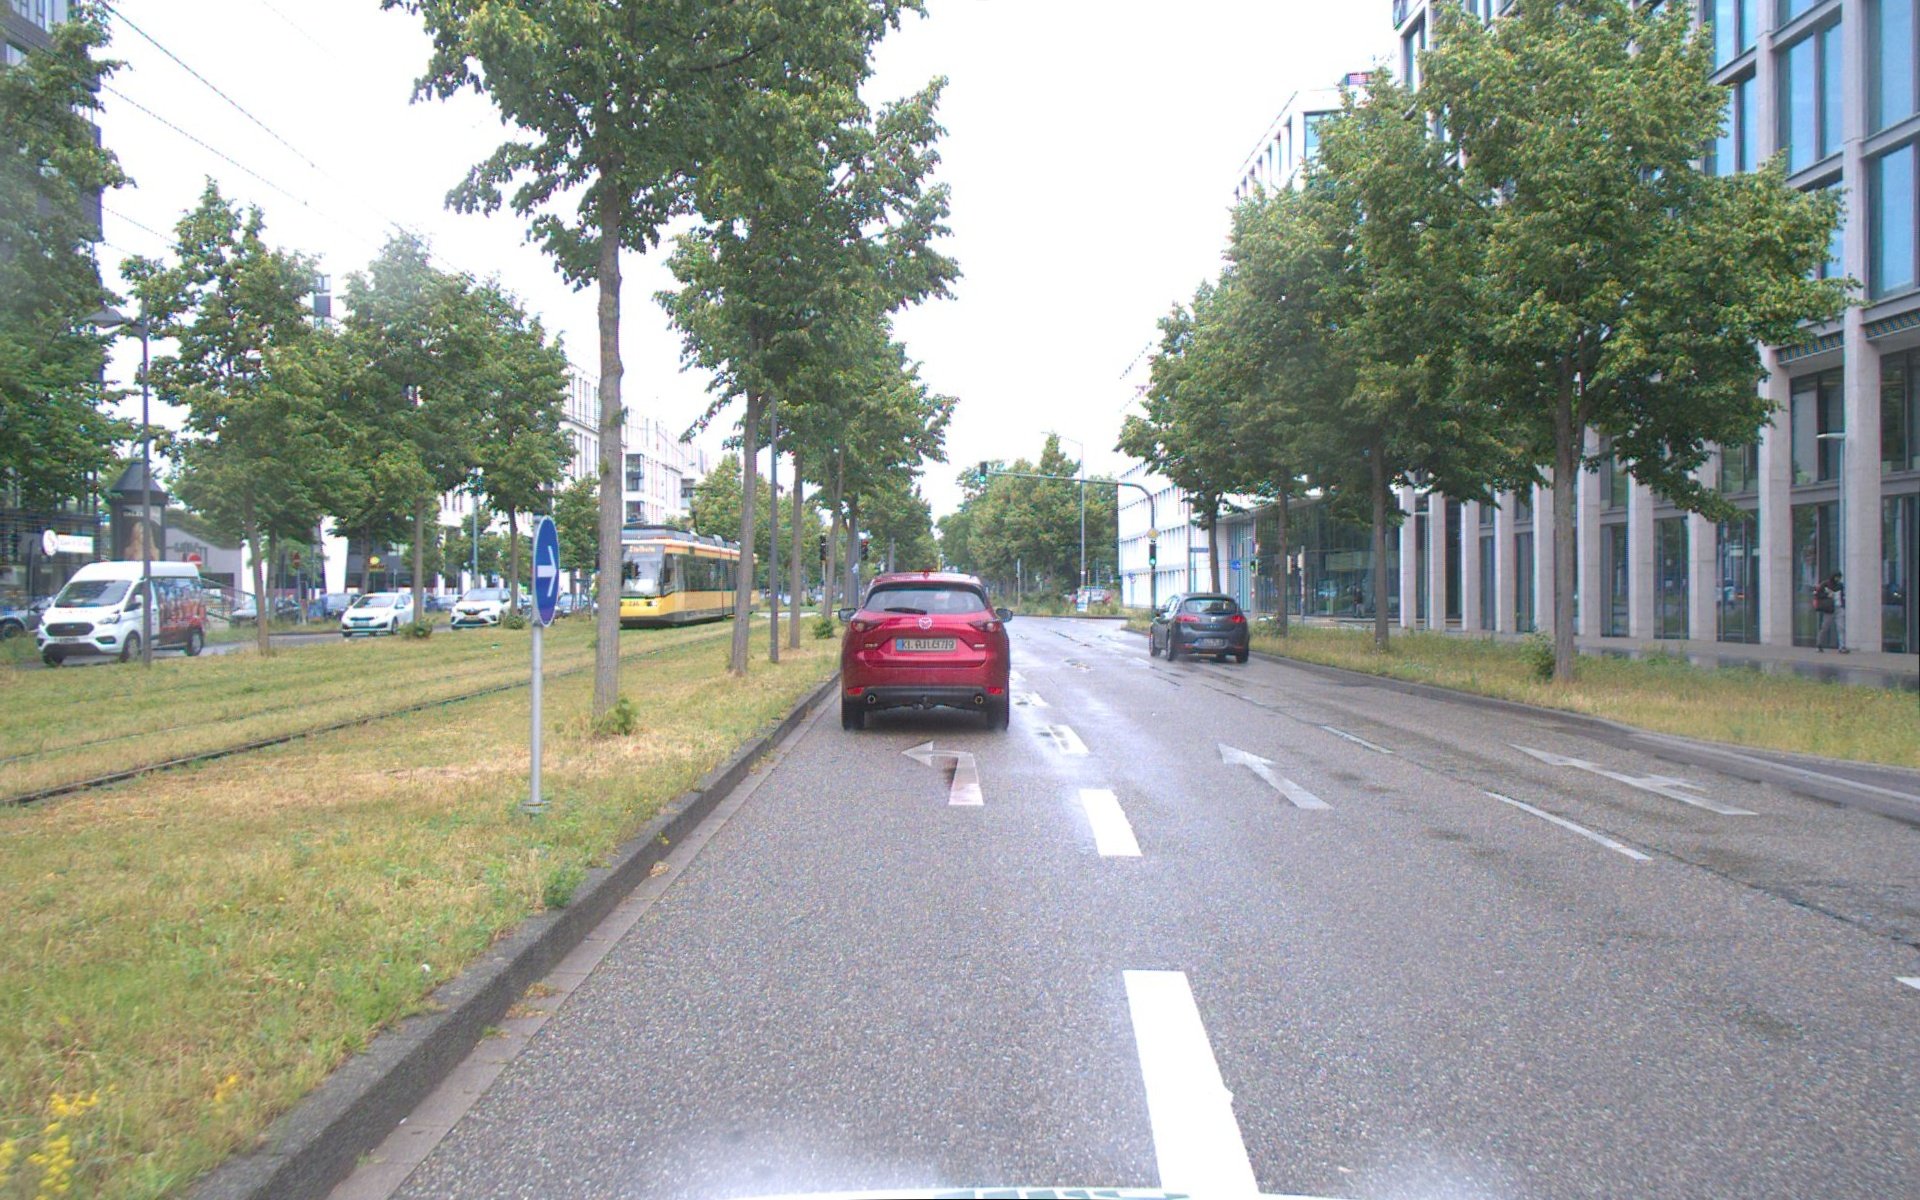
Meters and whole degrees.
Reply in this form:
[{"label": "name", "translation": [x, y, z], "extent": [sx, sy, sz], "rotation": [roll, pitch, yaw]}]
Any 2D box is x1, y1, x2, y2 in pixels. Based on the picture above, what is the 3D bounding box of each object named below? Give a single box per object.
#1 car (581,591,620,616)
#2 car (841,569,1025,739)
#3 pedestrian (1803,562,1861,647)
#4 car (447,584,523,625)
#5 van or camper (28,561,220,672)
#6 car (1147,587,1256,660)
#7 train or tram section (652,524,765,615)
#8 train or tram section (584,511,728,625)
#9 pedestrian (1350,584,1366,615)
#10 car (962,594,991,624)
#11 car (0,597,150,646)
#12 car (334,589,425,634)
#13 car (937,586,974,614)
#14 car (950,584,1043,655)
[{"label": "car", "translation": [-24.911, 0.229, 114.778], "extent": [1.954, 1.646, 3.998], "rotation": [0, 1, -3]}, {"label": "car", "translation": [-0.322, 0.520, 18.724], "extent": [1.860, 1.706, 3.999], "rotation": [0, 1, -2]}, {"label": "pedestrian", "translation": [18.385, 0.085, 34.885], "extent": [0.702, 1.744, 0.861], "rotation": [-2, 0, -2]}, {"label": "car", "translation": [-17.300, 0.145, 60.432], "extent": [1.675, 1.429, 3.999], "rotation": [0, 1, -1]}, {"label": "van or camper", "translation": [-19.924, 0.337, 39.735], "extent": [1.870, 2.453, 5.402], "rotation": [-1, 1, -1]}, {"label": "car", "translation": [5.238, 0.476, 36.221], "extent": [1.708, 1.490, 3.780], "rotation": [0, 1, -2]}, {"label": "train or tram section", "translation": [-11.156, -1.334, 75.054], "extent": [3.065, 3.722, 15.061], "rotation": [0, 1, -1]}, {"label": "train or tram section", "translation": [-10.894, -1.126, 60.866], "extent": [3.065, 3.722, 13.404], "rotation": [0, 1, -1]}, {"label": "pedestrian", "translation": [22.540, -0.038, 93.639], "extent": [0.766, 1.737, 0.679], "rotation": [0, 0, 24]}, {"label": "car", "translation": [1.140, 0.628, 116.922], "extent": [1.953, 2.049, 3.999], "rotation": [0, 1, -1]}, {"label": "car", "translation": [-30.187, 0.686, 56.018], "extent": [4.637, 1.548, 1.971], "rotation": [-1, 1, -40]}, {"label": "car", "translation": [-20.360, 0.392, 58.144], "extent": [1.846, 1.485, 3.999], "rotation": [0, 1, -1]}, {"label": "car", "translation": [-0.267, -0.010, 89.853], "extent": [1.927, 1.462, 4.552], "rotation": [1, 1, -1]}, {"label": "car", "translation": [0.857, 0.398, 36.857], "extent": [1.918, 1.490, 3.783], "rotation": [0, 1, 4]}]
